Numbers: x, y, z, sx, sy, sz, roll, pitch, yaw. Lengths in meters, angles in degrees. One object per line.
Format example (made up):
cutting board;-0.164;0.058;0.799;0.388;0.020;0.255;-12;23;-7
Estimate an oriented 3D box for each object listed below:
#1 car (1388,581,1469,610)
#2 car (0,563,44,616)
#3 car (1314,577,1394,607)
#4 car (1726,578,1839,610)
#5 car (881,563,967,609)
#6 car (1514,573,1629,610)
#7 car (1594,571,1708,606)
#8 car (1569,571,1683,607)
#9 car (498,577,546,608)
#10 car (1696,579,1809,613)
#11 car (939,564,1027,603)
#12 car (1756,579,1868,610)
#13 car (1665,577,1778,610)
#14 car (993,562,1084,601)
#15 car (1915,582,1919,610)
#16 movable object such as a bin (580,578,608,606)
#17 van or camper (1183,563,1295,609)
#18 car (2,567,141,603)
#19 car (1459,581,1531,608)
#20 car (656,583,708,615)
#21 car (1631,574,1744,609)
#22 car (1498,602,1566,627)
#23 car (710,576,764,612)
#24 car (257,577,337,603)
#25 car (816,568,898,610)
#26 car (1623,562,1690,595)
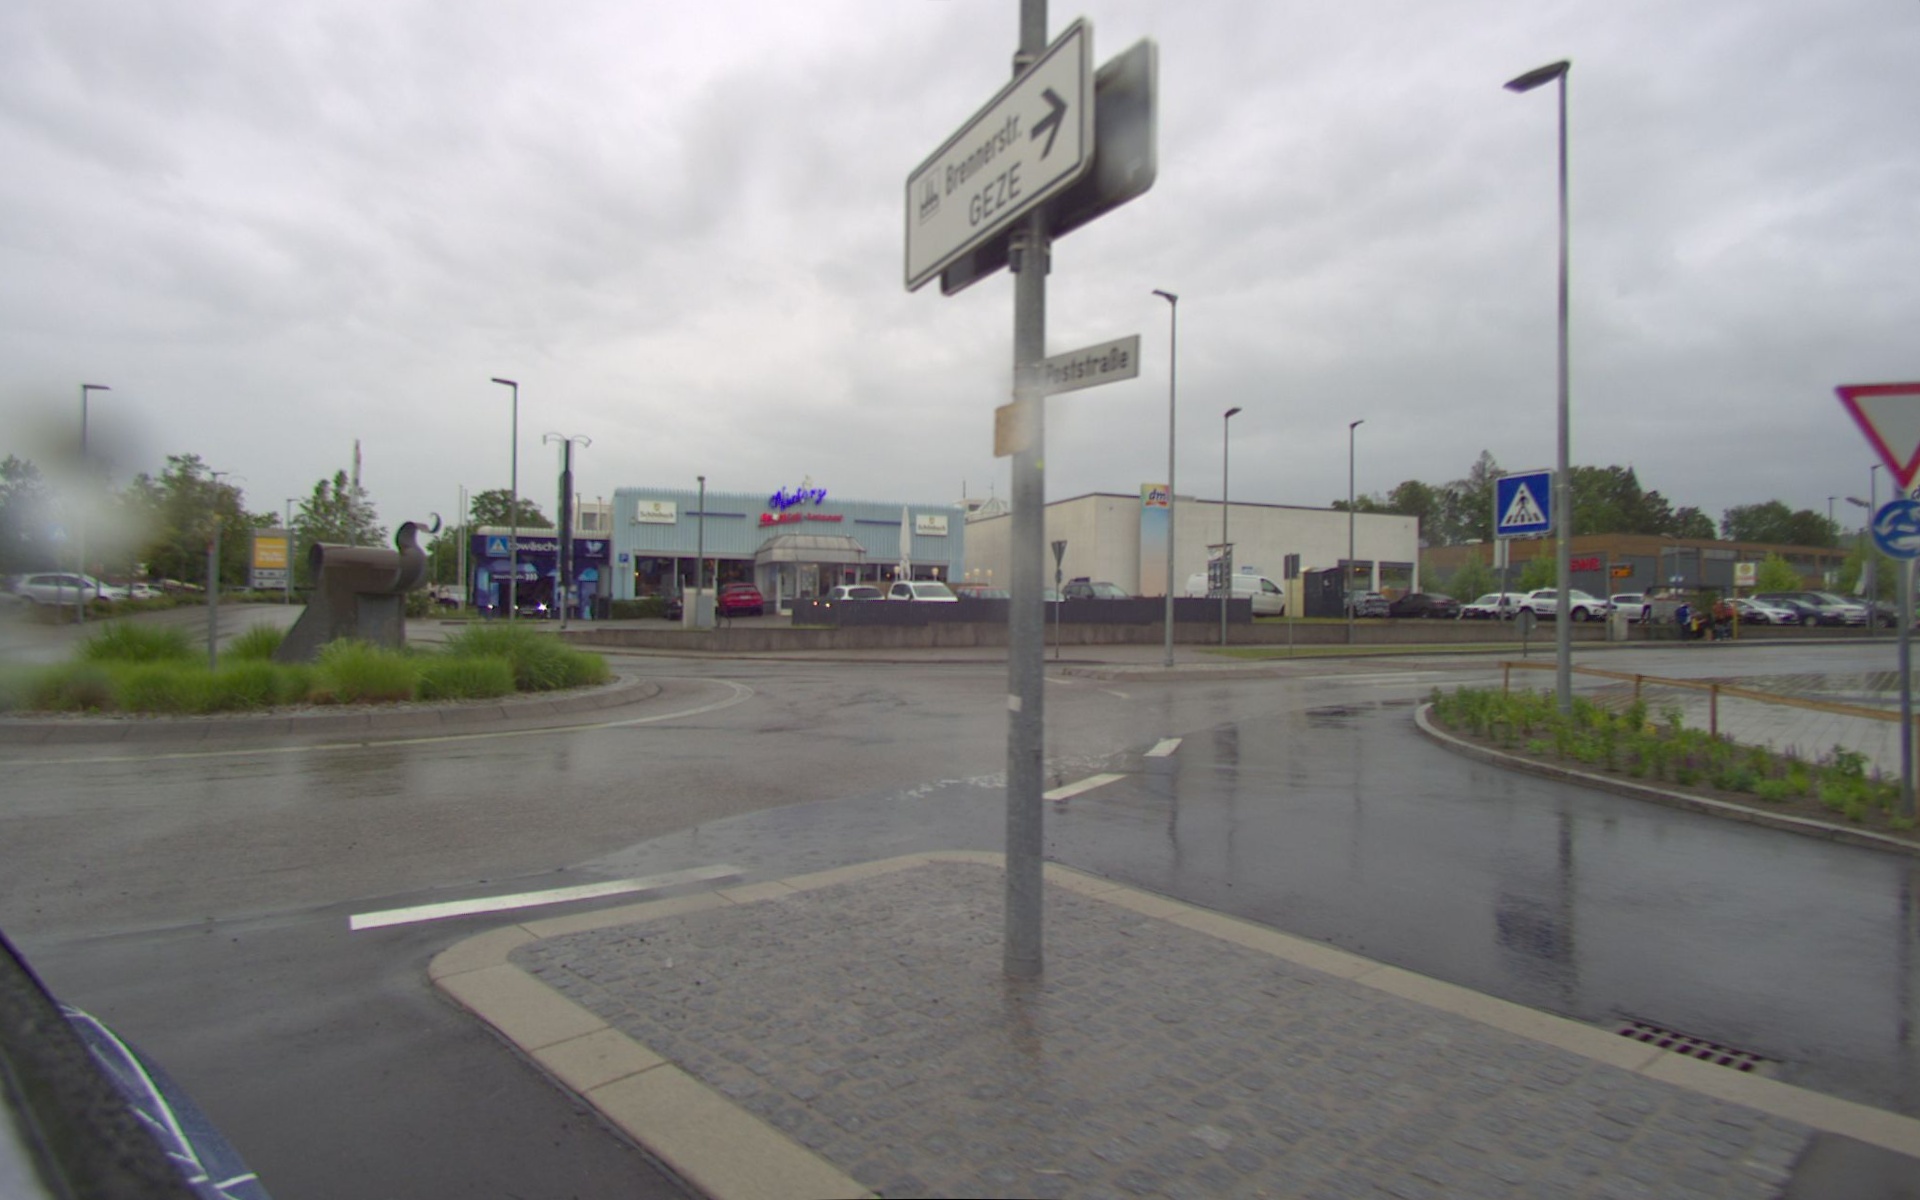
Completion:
car;26.114;-0.243;56.541;1.763;1.564;4.013;0;0;-22
car;-33.097;-0.328;33.222;4.036;1.719;2.006;0;-1;-17
car;21.172;-0.393;54.529;1.763;1.564;4.013;0;0;-22
car;41.304;-0.288;50.925;1.763;1.564;4.013;0;0;-24
car;-1.380;-0.474;36.812;1.763;1.564;4.013;0;0;-24
car;27.020;-0.342;44.856;1.820;1.564;4.013;0;0;-24
car;31.798;-0.499;46.722;1.763;1.564;4.013;0;0;-24
car;30.063;-0.474;45.799;1.763;1.564;4.013;0;0;-24
car;-22.954;-0.383;53.149;1.888;1.541;4.012;-2;0;-18
car;39.012;-0.187;49.932;1.763;1.564;4.013;0;0;-24
car;0.773;-0.595;37.391;1.855;1.305;4.013;-3;1;-20
car;43.616;-0.266;51.876;1.763;1.564;4.013;0;0;-24
car;36.593;-0.297;48.740;1.763;1.564;4.013;0;0;-24
car;2.889;-0.680;38.146;1.855;1.305;4.013;-3;1;-20
car;73.428;-0.263;74.562;1.965;2.028;4.014;-3;3;-23
movable object such as a bin;-17.729;-0.378;48.978;1.194;1.305;1.483;-3;1;-20
van or camper;11.986;-0.625;43.524;4.306;1.774;1.894;-3;1;-20
car;-37.201;-0.614;42.488;3.931;1.453;2.006;0;-1;-20
car;31.890;-0.336;60.293;3.930;1.564;1.800;0;0;-25
car;-12.559;-0.045;45.618;1.855;1.305;4.013;-3;1;-20
car;34.354;-0.384;47.908;1.763;1.564;4.013;0;0;-24
car;32.207;0.792;57.005;3.459;1.363;1.597;0;0;-25
car;-10.360;-0.275;46.896;1.855;1.497;4.013;-3;1;-20
car;-42.663;-0.653;65.191;3.931;1.608;2.006;0;-1;-20
car;-3.652;-0.376;35.290;1.855;1.305;4.013;-3;1;-20
car;46.573;-1.455;67.645;3.931;2.028;2.007;-3;3;-26
